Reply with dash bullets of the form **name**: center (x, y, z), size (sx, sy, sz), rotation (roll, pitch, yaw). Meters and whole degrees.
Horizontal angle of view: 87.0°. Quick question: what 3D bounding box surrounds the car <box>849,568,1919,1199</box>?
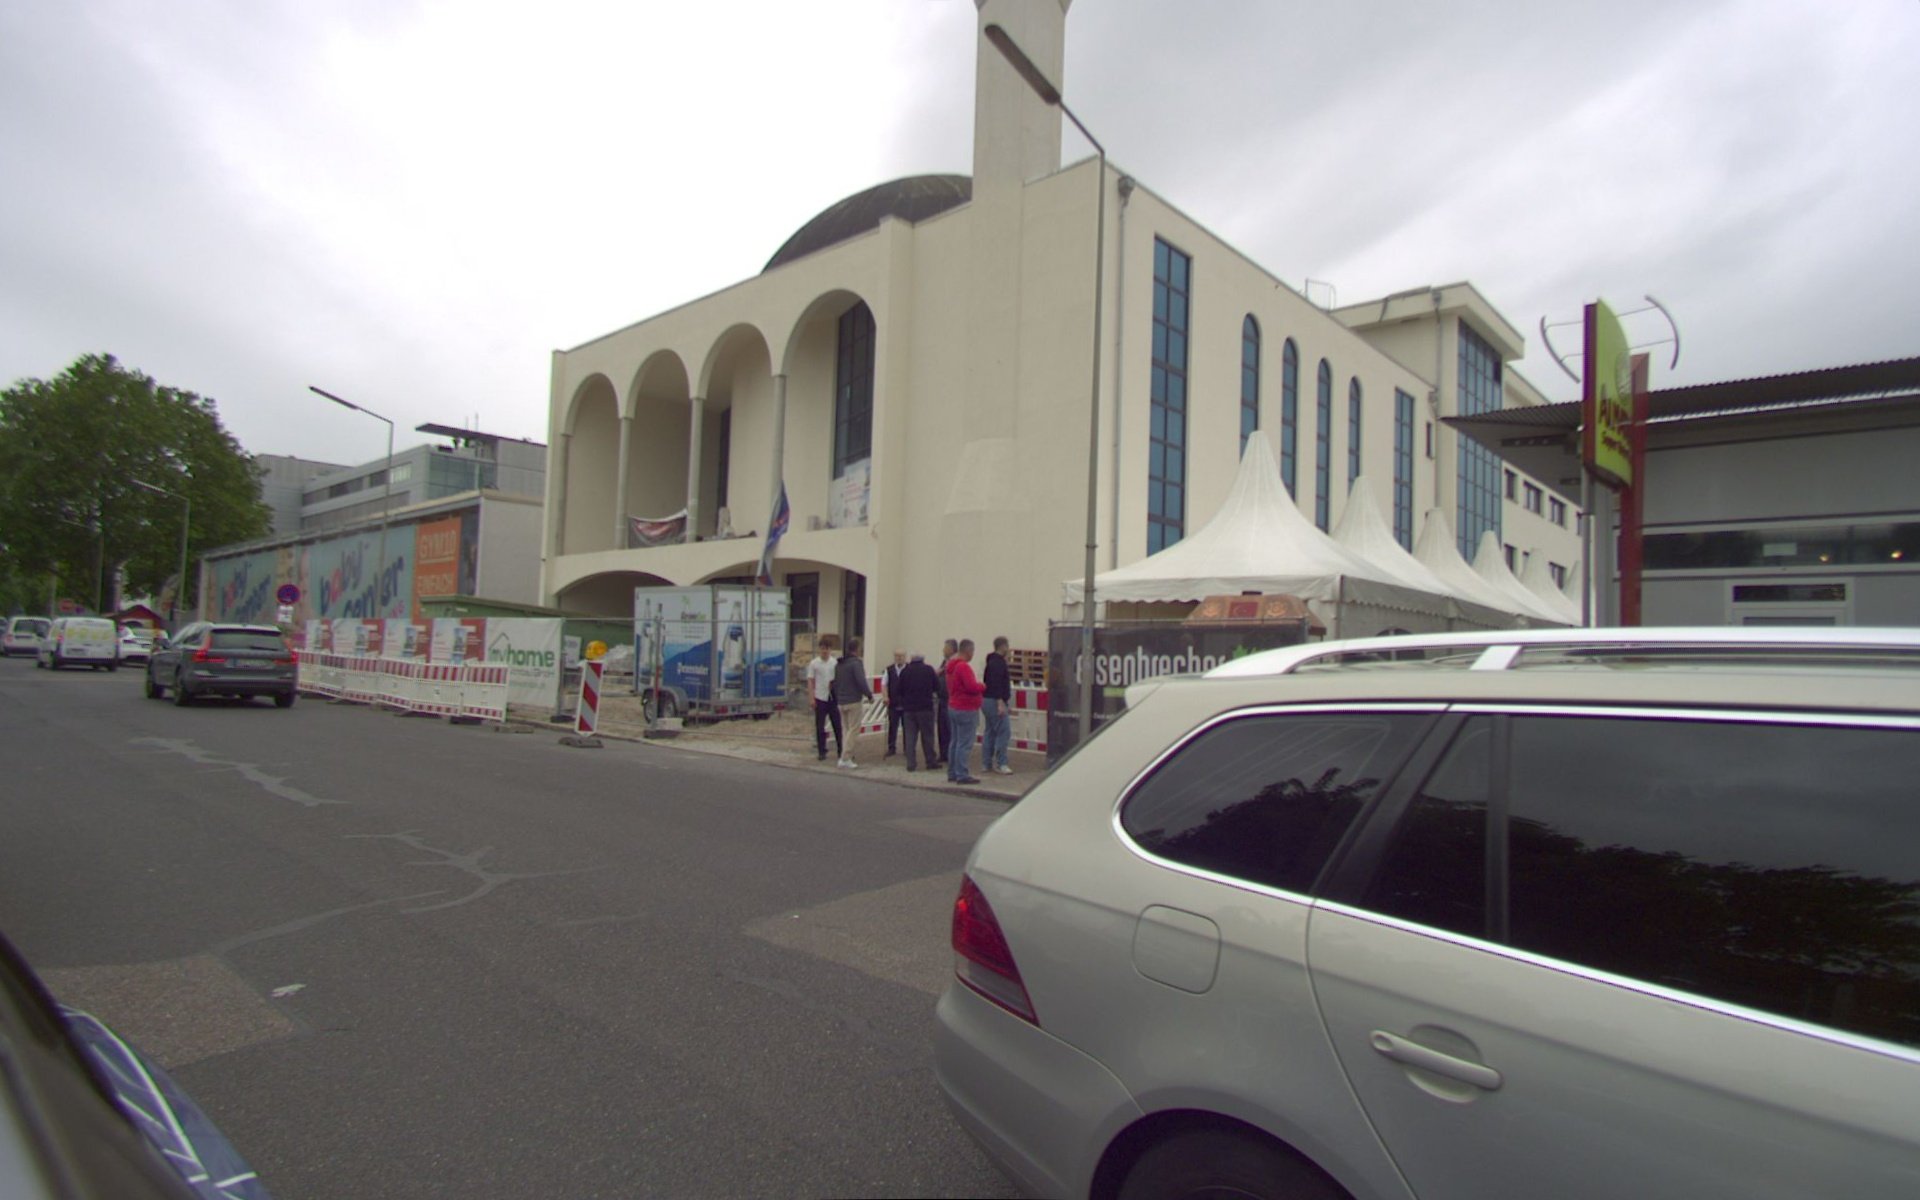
- **car**: center (1.903, 0.745, 1.369), size (4.299, 1.462, 1.733), rotation (-2, -5, 45)

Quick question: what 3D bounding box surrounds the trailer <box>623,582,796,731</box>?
- **trailer**: center (-4.883, 1.084, 19.593), size (1.777, 2.627, 3.193), rotation (6, -5, -44)

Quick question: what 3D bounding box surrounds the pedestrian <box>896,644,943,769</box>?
- **pedestrian**: center (-0.547, 1.413, 13.586), size (0.563, 1.624, 0.491), rotation (-2, -3, -5)

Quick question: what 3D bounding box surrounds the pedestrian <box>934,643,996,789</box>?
- **pedestrian**: center (0.061, 1.390, 12.306), size (0.512, 1.706, 0.527), rotation (-4, -4, 31)

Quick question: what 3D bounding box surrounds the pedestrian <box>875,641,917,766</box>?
- **pedestrian**: center (-0.929, 1.482, 14.683), size (0.521, 1.763, 0.490), rotation (-2, -3, 2)

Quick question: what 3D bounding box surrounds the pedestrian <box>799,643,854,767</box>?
- **pedestrian**: center (-1.946, 1.519, 14.766), size (0.682, 1.763, 0.490), rotation (-2, -3, 2)

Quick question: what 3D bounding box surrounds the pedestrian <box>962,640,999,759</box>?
- **pedestrian**: center (0.302, 1.418, 14.526), size (0.484, 1.623, 0.540), rotation (1, 2, 3)

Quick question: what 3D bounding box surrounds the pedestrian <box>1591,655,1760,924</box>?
- **pedestrian**: center (4.748, 1.227, 6.759), size (0.667, 1.634, 0.652), rotation (4, -6, 7)

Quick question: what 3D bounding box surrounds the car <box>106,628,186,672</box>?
- **car**: center (-33.335, 2.041, 41.406), size (4.150, 1.586, 1.903), rotation (-2, -8, 44)

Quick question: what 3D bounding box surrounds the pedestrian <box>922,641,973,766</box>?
- **pedestrian**: center (-0.170, 1.433, 14.084), size (0.568, 1.706, 0.408), rotation (-3, -3, 18)

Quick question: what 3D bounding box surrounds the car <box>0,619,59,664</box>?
- **car**: center (-42.270, 1.851, 45.693), size (4.383, 1.821, 1.775), rotation (0, -5, 42)

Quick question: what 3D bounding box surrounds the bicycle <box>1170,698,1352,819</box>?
- **bicycle**: center (3.246, 1.679, 11.064), size (0.537, 1.086, 1.904), rotation (4, -3, -41)

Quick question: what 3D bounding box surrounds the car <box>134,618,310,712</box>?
- **car**: center (-15.081, 1.281, 20.587), size (4.494, 1.697, 1.912), rotation (-1, -6, 42)

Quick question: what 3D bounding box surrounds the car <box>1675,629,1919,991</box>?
- **car**: center (6.208, 1.077, 4.512), size (4.730, 1.704, 1.845), rotation (-2, -8, 44)

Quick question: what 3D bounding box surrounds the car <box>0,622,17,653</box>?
- **car**: center (-66.223, 2.500, 69.363), size (4.956, 2.029, 1.905), rotation (0, -4, 44)

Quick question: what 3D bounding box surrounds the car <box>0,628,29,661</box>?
- **car**: center (-49.428, 2.240, 52.183), size (3.946, 1.584, 1.710), rotation (-1, -6, 43)

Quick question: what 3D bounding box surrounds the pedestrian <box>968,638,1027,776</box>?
- **pedestrian**: center (0.477, 1.376, 13.233), size (0.686, 1.731, 0.687), rotation (-2, -3, 0)

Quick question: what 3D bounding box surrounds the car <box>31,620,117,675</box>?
- **car**: center (-30.524, 1.618, 34.840), size (4.134, 1.774, 1.671), rotation (-1, -5, 42)

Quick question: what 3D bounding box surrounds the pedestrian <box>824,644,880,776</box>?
- **pedestrian**: center (-1.489, 1.504, 13.993), size (0.682, 1.763, 0.490), rotation (-2, -3, 2)
